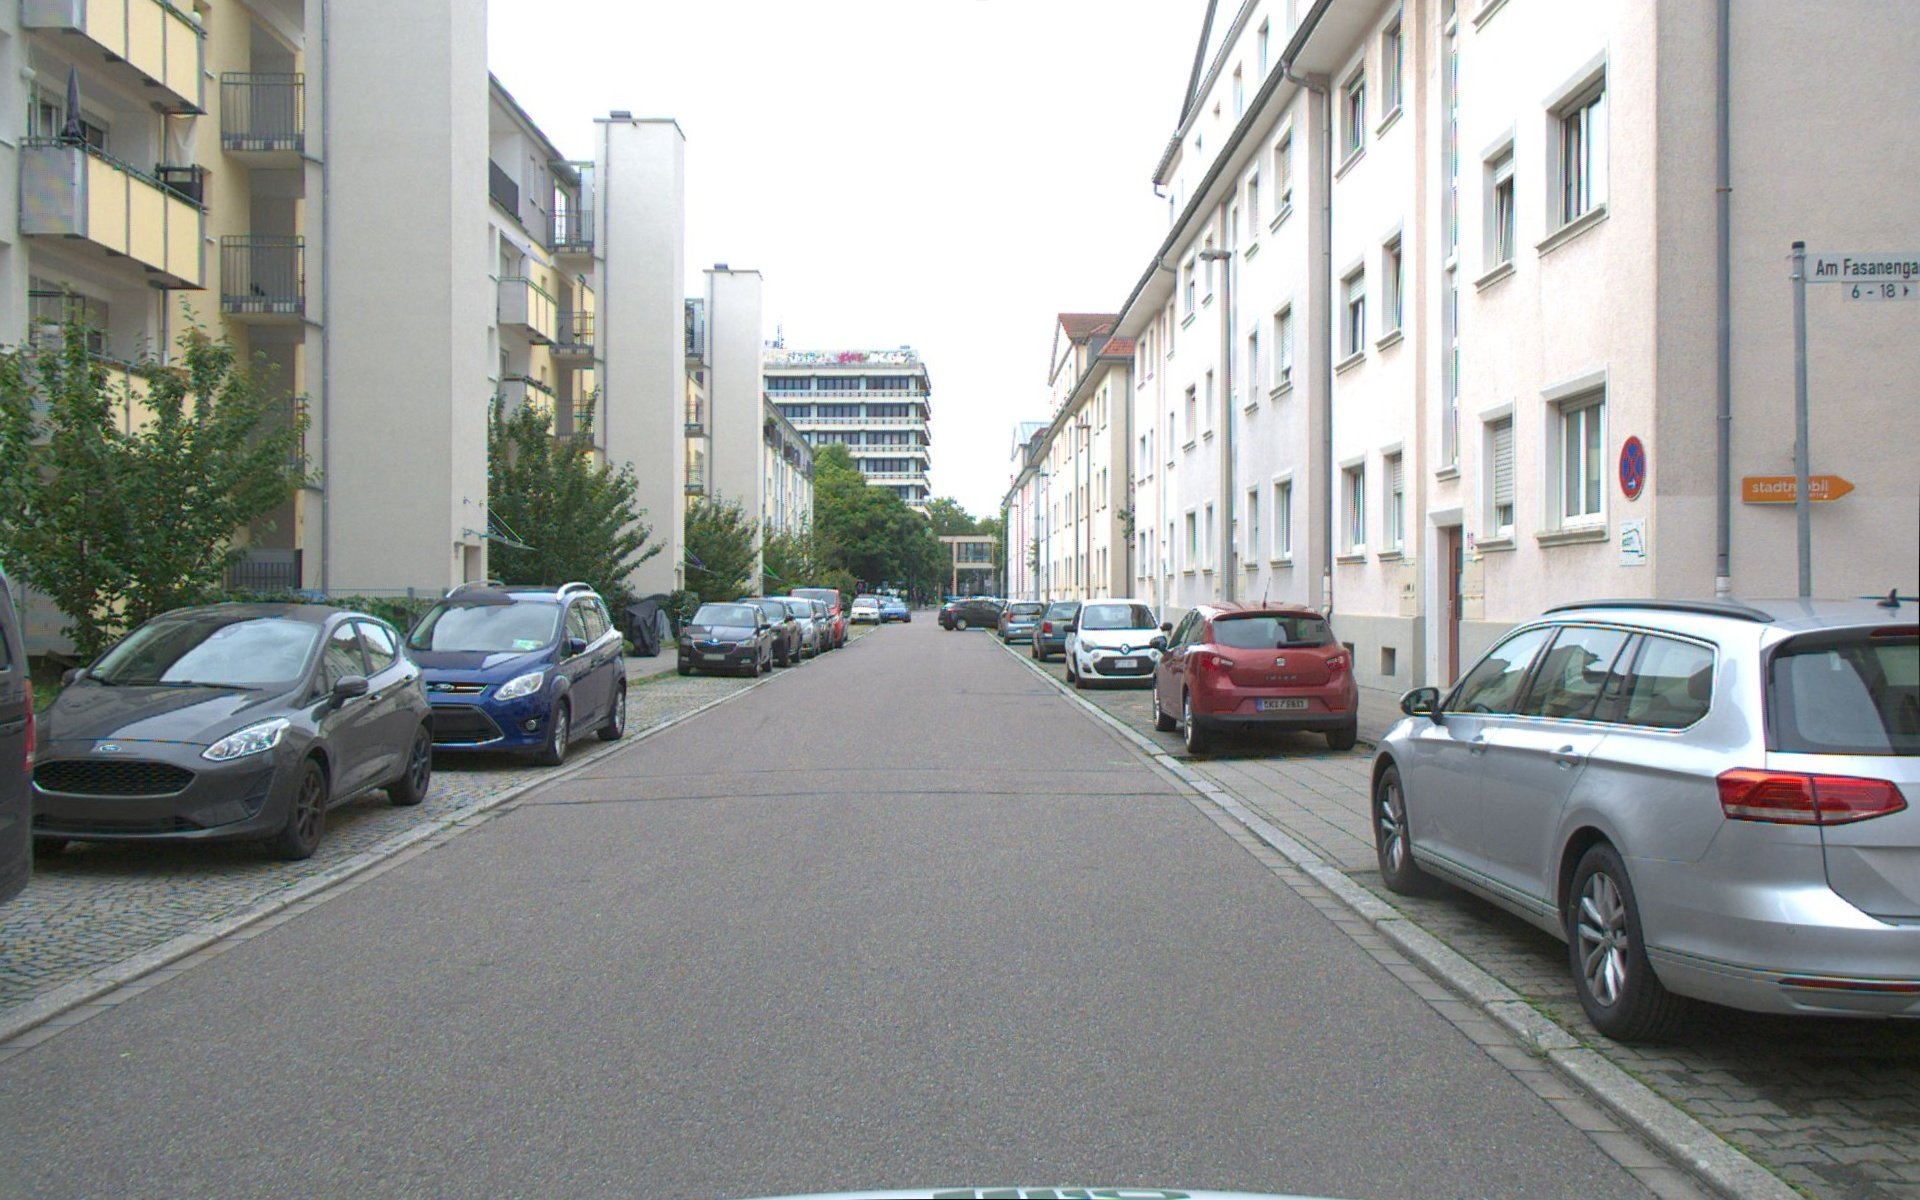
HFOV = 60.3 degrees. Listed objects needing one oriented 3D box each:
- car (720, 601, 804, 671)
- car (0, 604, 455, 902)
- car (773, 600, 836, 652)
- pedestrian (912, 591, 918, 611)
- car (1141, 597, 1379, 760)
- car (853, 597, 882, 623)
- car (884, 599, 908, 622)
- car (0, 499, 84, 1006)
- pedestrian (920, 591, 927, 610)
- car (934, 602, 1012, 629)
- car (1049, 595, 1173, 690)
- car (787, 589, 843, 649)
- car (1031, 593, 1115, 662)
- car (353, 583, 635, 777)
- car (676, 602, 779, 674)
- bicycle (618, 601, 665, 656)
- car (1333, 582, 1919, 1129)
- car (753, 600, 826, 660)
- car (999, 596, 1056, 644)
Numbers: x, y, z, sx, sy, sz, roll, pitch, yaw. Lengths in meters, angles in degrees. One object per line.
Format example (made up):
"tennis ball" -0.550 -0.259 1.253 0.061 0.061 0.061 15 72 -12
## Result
"car" -4.781 0.828 40.308 1.637 1.591 3.663 1 0 -1
"car" -4.726 0.796 10.633 1.793 1.484 4.258 1 0 -2
"car" -4.802 0.786 51.439 1.637 1.513 3.741 1 0 -1
"pedestrian" -4.857 0.095 178.462 0.617 2.049 0.683 2 0 -2
"car" 3.009 0.726 17.367 1.636 1.445 3.999 -2 0 -2
"car" -5.426 0.560 97.273 1.507 1.476 3.741 1 0 -1
"car" -4.209 0.669 108.138 1.508 1.476 3.739 0 0 -3
"car" -4.468 0.561 4.269 1.841 1.937 5.028 2 0 -3
"pedestrian" -3.997 0.057 180.301 0.617 2.049 0.683 2 0 -2
"car" 0.628 0.725 78.014 3.652 1.235 1.544 1 0 0
"car" 2.587 0.697 29.053 1.782 1.531 3.752 1 0 -1
"car" -4.923 0.618 56.542 1.637 1.972 3.741 1 0 -1
"car" 2.767 0.650 41.138 1.782 1.604 3.752 1 0 -1
"car" -4.475 0.689 16.559 1.734 1.672 4.353 1 0 -2
"car" -4.806 0.758 34.563 1.637 1.375 3.816 1 0 -1
"bicycle" -7.705 0.676 40.103 0.853 1.311 1.891 0 0 -3
"car" 2.993 0.693 6.844 1.720 1.493 4.599 1 0 -2
"car" -4.728 0.794 46.288 1.637 1.552 4.252 1 0 -1
"car" 2.335 0.670 57.769 1.782 1.604 3.883 1 0 -1
